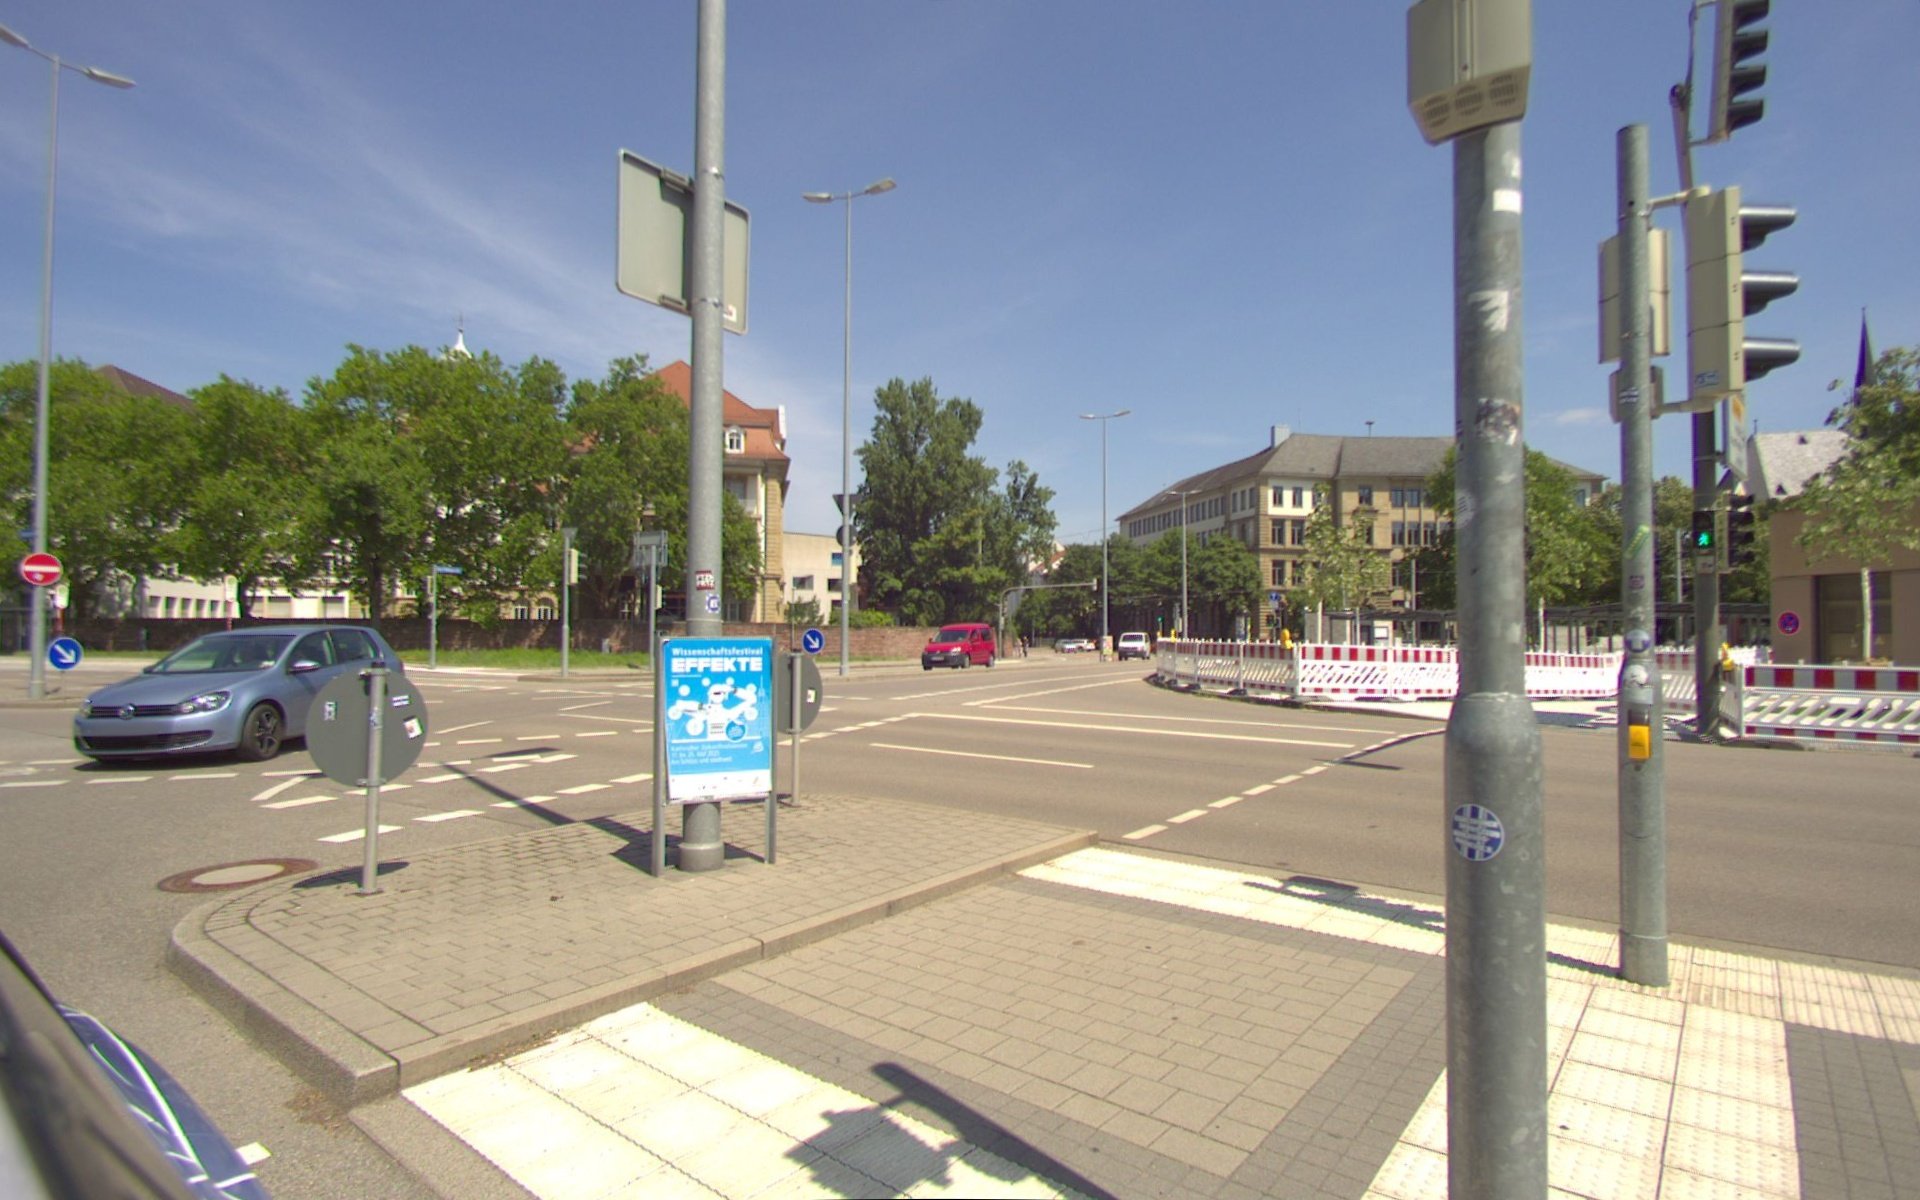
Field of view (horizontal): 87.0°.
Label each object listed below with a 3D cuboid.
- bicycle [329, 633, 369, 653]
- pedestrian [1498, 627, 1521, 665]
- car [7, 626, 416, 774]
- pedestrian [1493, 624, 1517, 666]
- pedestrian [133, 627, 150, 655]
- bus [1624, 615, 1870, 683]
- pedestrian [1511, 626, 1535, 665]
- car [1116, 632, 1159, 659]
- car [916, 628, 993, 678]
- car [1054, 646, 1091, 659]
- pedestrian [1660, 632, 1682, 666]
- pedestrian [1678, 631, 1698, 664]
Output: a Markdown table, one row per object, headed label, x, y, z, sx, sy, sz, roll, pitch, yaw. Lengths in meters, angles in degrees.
| label | x | y | z | sx | sy | sz | roll | pitch | yaw |
| --- | --- | --- | --- | --- | --- | --- | --- | --- | --- |
| bicycle | -37.869 | 2.654 | 62.774 | 2.136 | 1.191 | 0.458 | -2 | -3 | -5 |
| pedestrian | 26.218 | 2.208 | 48.299 | 0.531 | 1.769 | 0.661 | -1 | -4 | -22 |
| car | -8.420 | 1.030 | 11.921 | 1.808 | 1.425 | 3.992 | 0 | -1 | 1 |
| pedestrian | 25.343 | 2.106 | 47.055 | 0.681 | 1.920 | 0.578 | -1 | -3 | -14 |
| pedestrian | -50.386 | 2.537 | 62.291 | 0.519 | 1.734 | 0.589 | -2 | -3 | -2 |
| bus | 40.102 | 2.577 | 52.342 | 2.808 | 3.077 | 10.626 | -1 | -3 | -11 |
| pedestrian | 26.383 | 2.147 | 47.438 | 0.635 | 1.802 | 0.639 | -1 | -3 | -13 |
| car | 12.587 | 3.178 | 71.534 | 1.920 | 1.808 | 4.993 | -1 | -2 | 22 |
| car | -0.142 | 2.039 | 38.955 | 1.818 | 1.780 | 4.256 | -3 | -3 | 16 |
| car | 13.506 | 6.268 | 121.813 | 1.792 | 1.439 | 4.435 | 3 | -3 | -39 |
| pedestrian | 36.052 | 2.483 | 51.337 | 0.616 | 1.667 | 0.548 | -1 | -3 | -17 |
| pedestrian | 36.124 | 2.358 | 50.221 | 0.528 | 1.632 | 0.522 | -1 | -3 | -17 |
